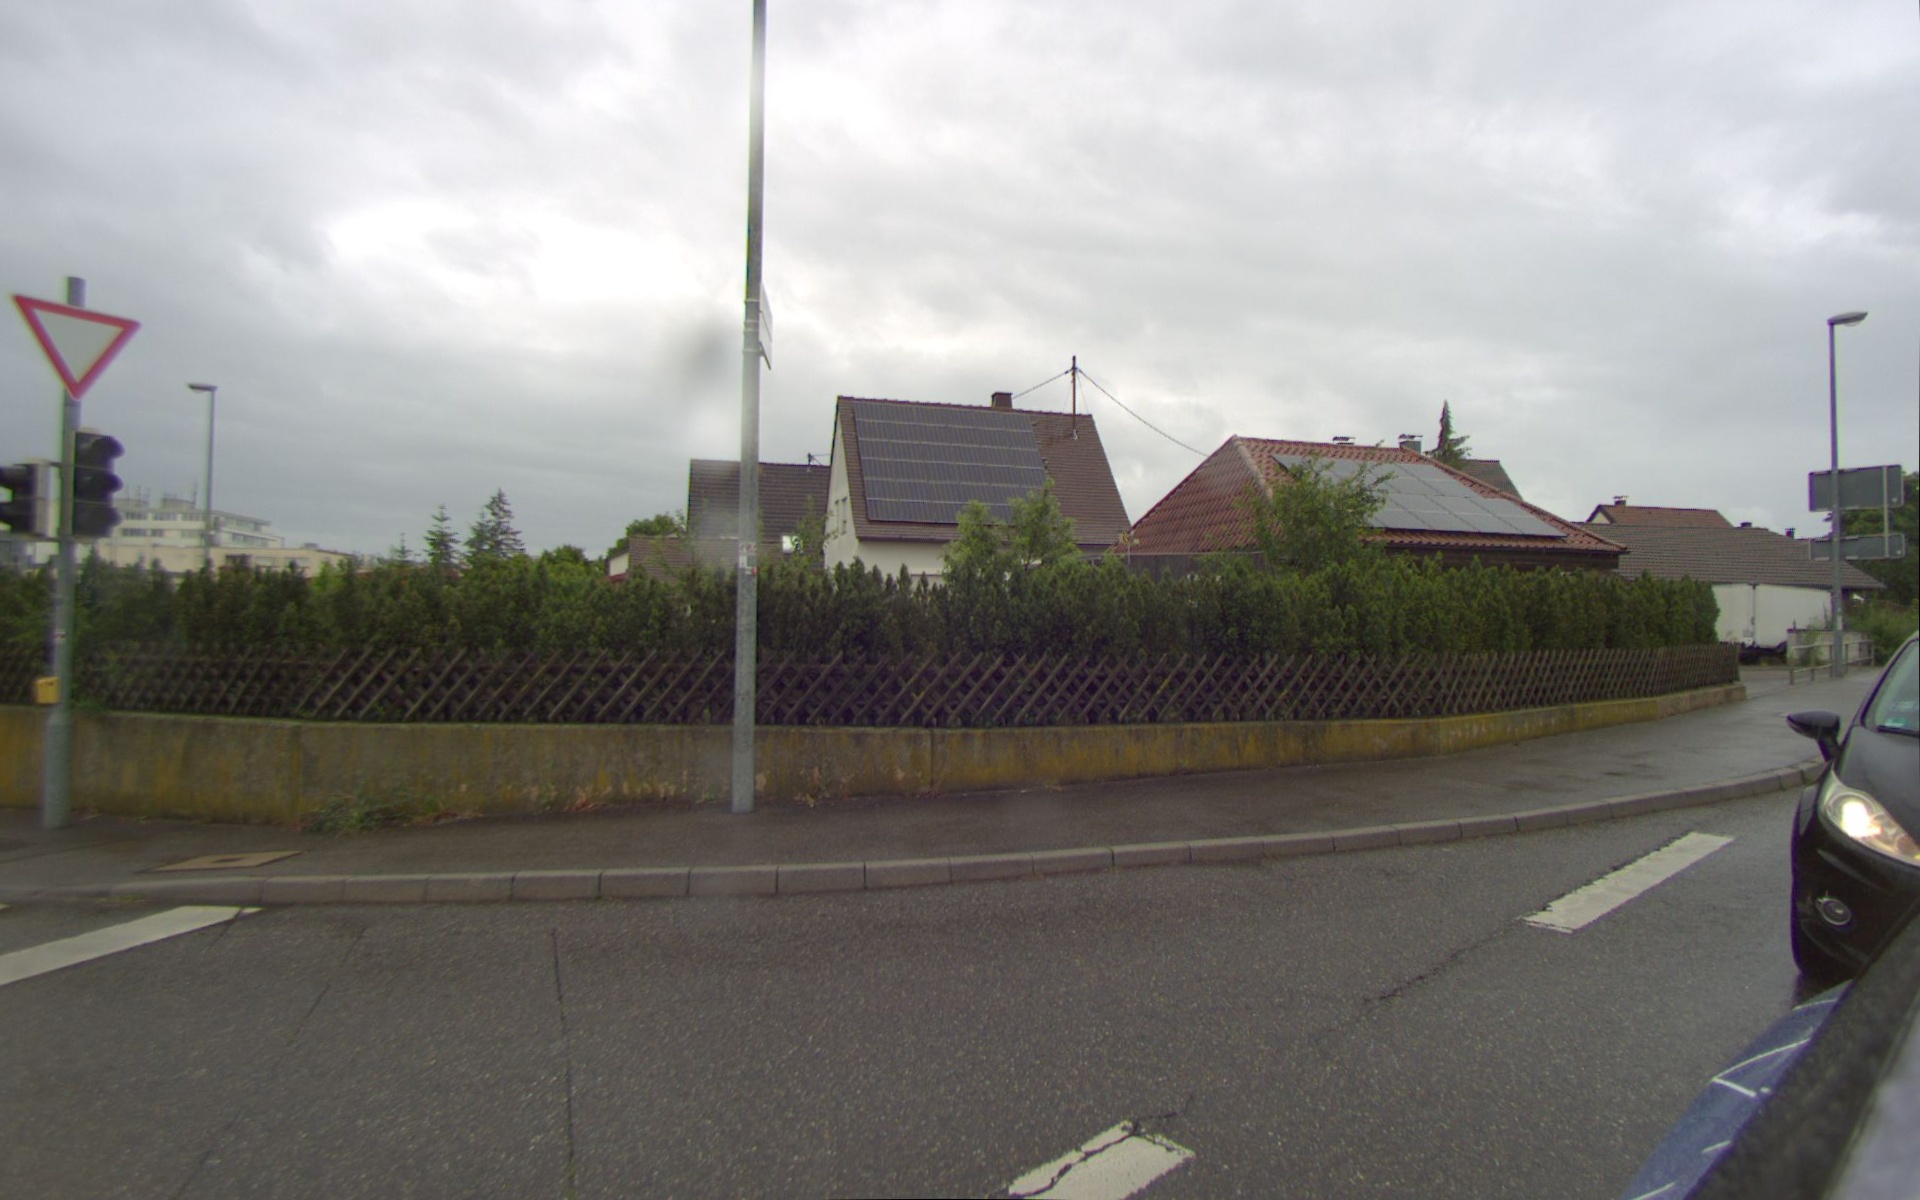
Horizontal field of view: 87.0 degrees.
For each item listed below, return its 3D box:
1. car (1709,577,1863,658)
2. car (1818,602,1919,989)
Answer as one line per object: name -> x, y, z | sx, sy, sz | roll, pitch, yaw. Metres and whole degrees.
car -> 25.443, 0.510, 31.196 | 3.916, 2.380, 1.657 | 0, -1, -14
car -> 5.440, 0.755, 4.803 | 3.867, 1.436, 1.663 | -1, 1, -43
